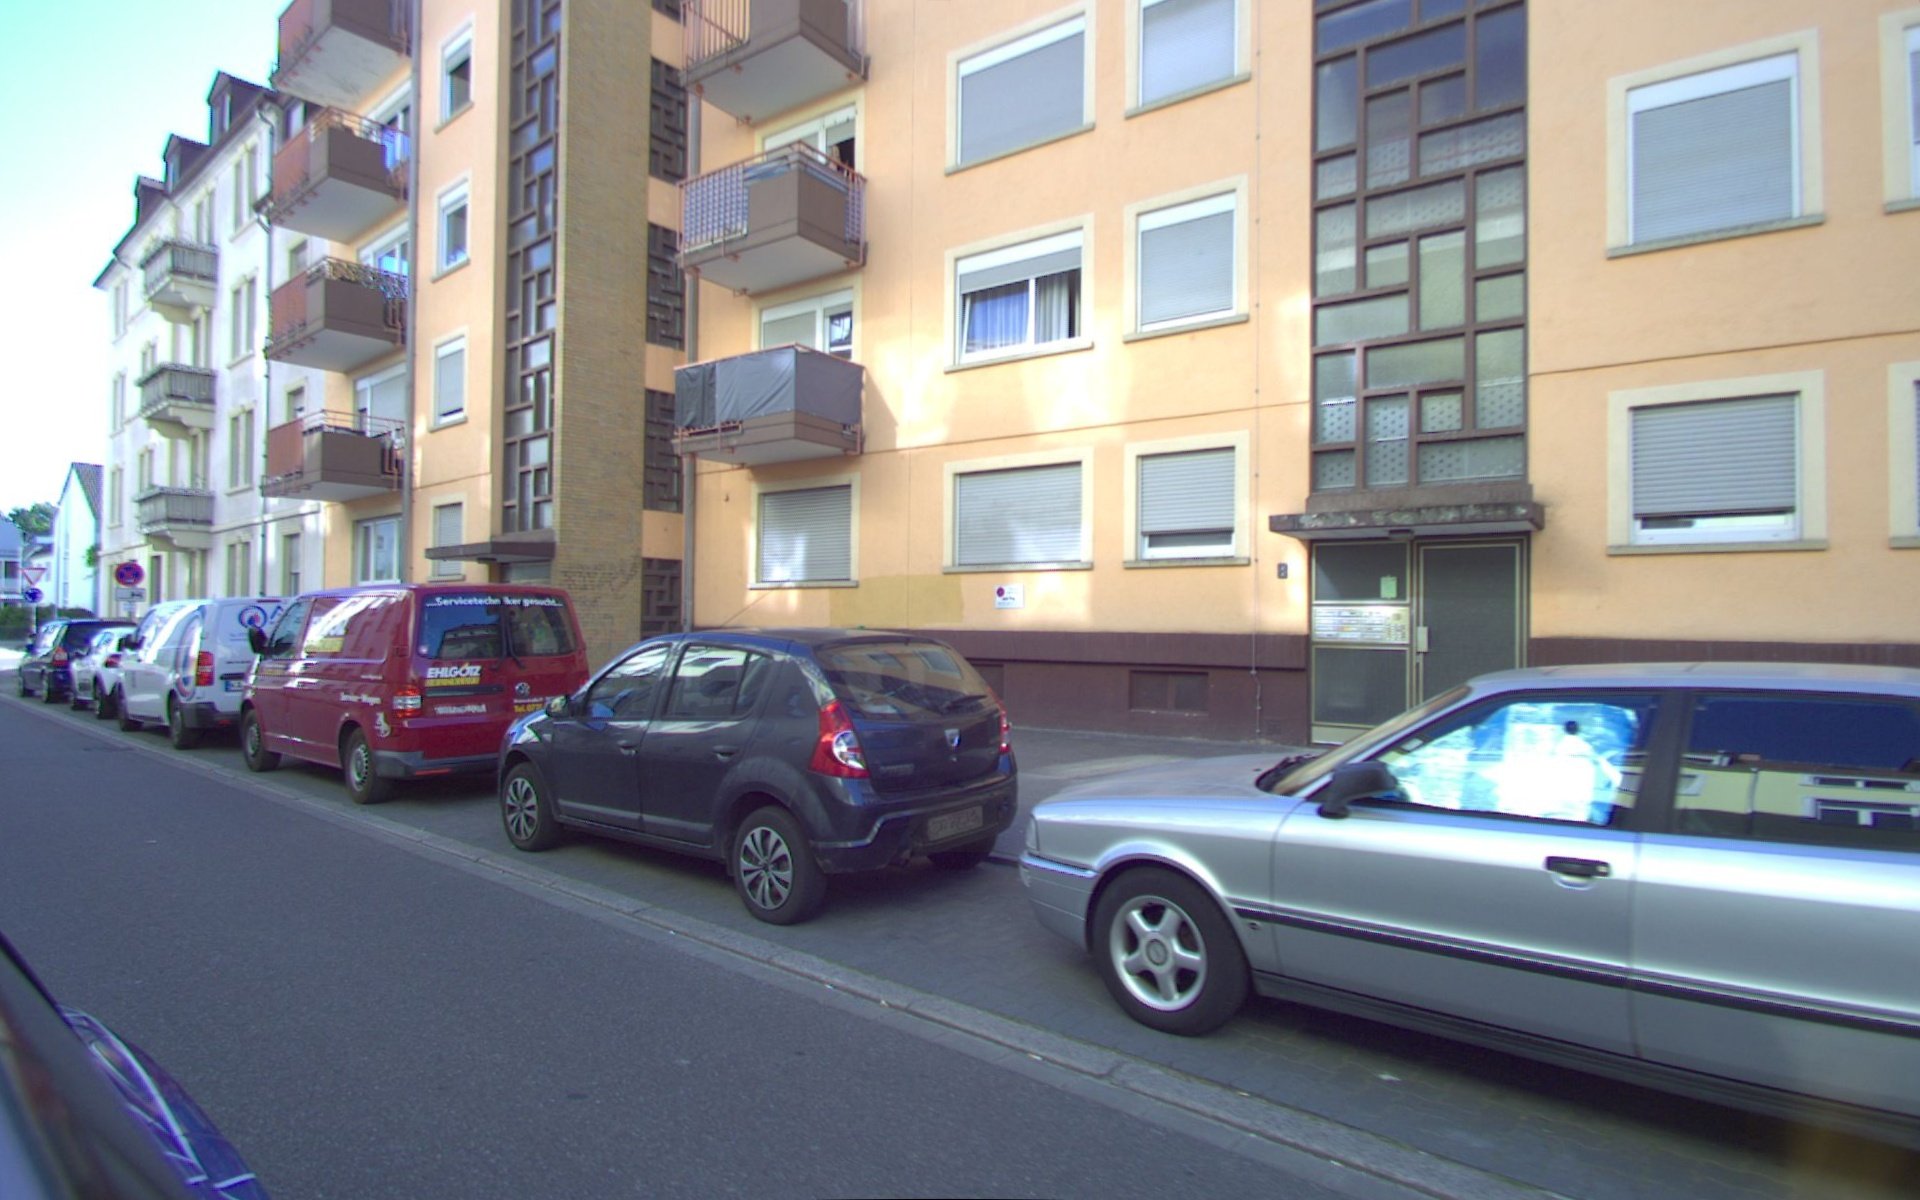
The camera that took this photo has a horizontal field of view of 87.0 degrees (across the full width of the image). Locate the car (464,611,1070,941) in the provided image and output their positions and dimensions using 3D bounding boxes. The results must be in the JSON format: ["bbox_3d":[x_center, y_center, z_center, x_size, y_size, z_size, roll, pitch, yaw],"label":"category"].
[{"bbox_3d":[-1.432,0.876,6.626,3.996,1.514,1.745,-1,-3,39],"label":"car"}]

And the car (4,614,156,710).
[{"bbox_3d":[-18.301,1.212,20.986,4.291,1.784,1.745,-1,-2,40],"label":"car"}]

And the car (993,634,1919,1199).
[{"bbox_3d":[2.388,0.830,3.421,4.476,1.388,1.744,-1,-2,41],"label":"car"}]

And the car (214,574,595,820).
[{"bbox_3d":[-5.805,0.819,10.260,4.931,1.940,1.745,-1,-2,40],"label":"car"}]

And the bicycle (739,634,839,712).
[{"bbox_3d":[-2.589,1.070,15.203,1.759,1.122,0.338,-1,-2,35],"label":"bicycle"}]

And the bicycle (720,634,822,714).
[{"bbox_3d":[-2.797,1.065,14.879,1.759,1.122,0.338,-1,-2,35],"label":"bicycle"}]

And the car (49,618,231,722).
[{"bbox_3d":[-14.688,1.152,18.050,4.291,1.633,1.745,-1,-2,40],"label":"car"}]

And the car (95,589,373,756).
[{"bbox_3d":[-10.360,0.899,14.261,5.305,1.940,1.955,-1,-2,40],"label":"car"}]
